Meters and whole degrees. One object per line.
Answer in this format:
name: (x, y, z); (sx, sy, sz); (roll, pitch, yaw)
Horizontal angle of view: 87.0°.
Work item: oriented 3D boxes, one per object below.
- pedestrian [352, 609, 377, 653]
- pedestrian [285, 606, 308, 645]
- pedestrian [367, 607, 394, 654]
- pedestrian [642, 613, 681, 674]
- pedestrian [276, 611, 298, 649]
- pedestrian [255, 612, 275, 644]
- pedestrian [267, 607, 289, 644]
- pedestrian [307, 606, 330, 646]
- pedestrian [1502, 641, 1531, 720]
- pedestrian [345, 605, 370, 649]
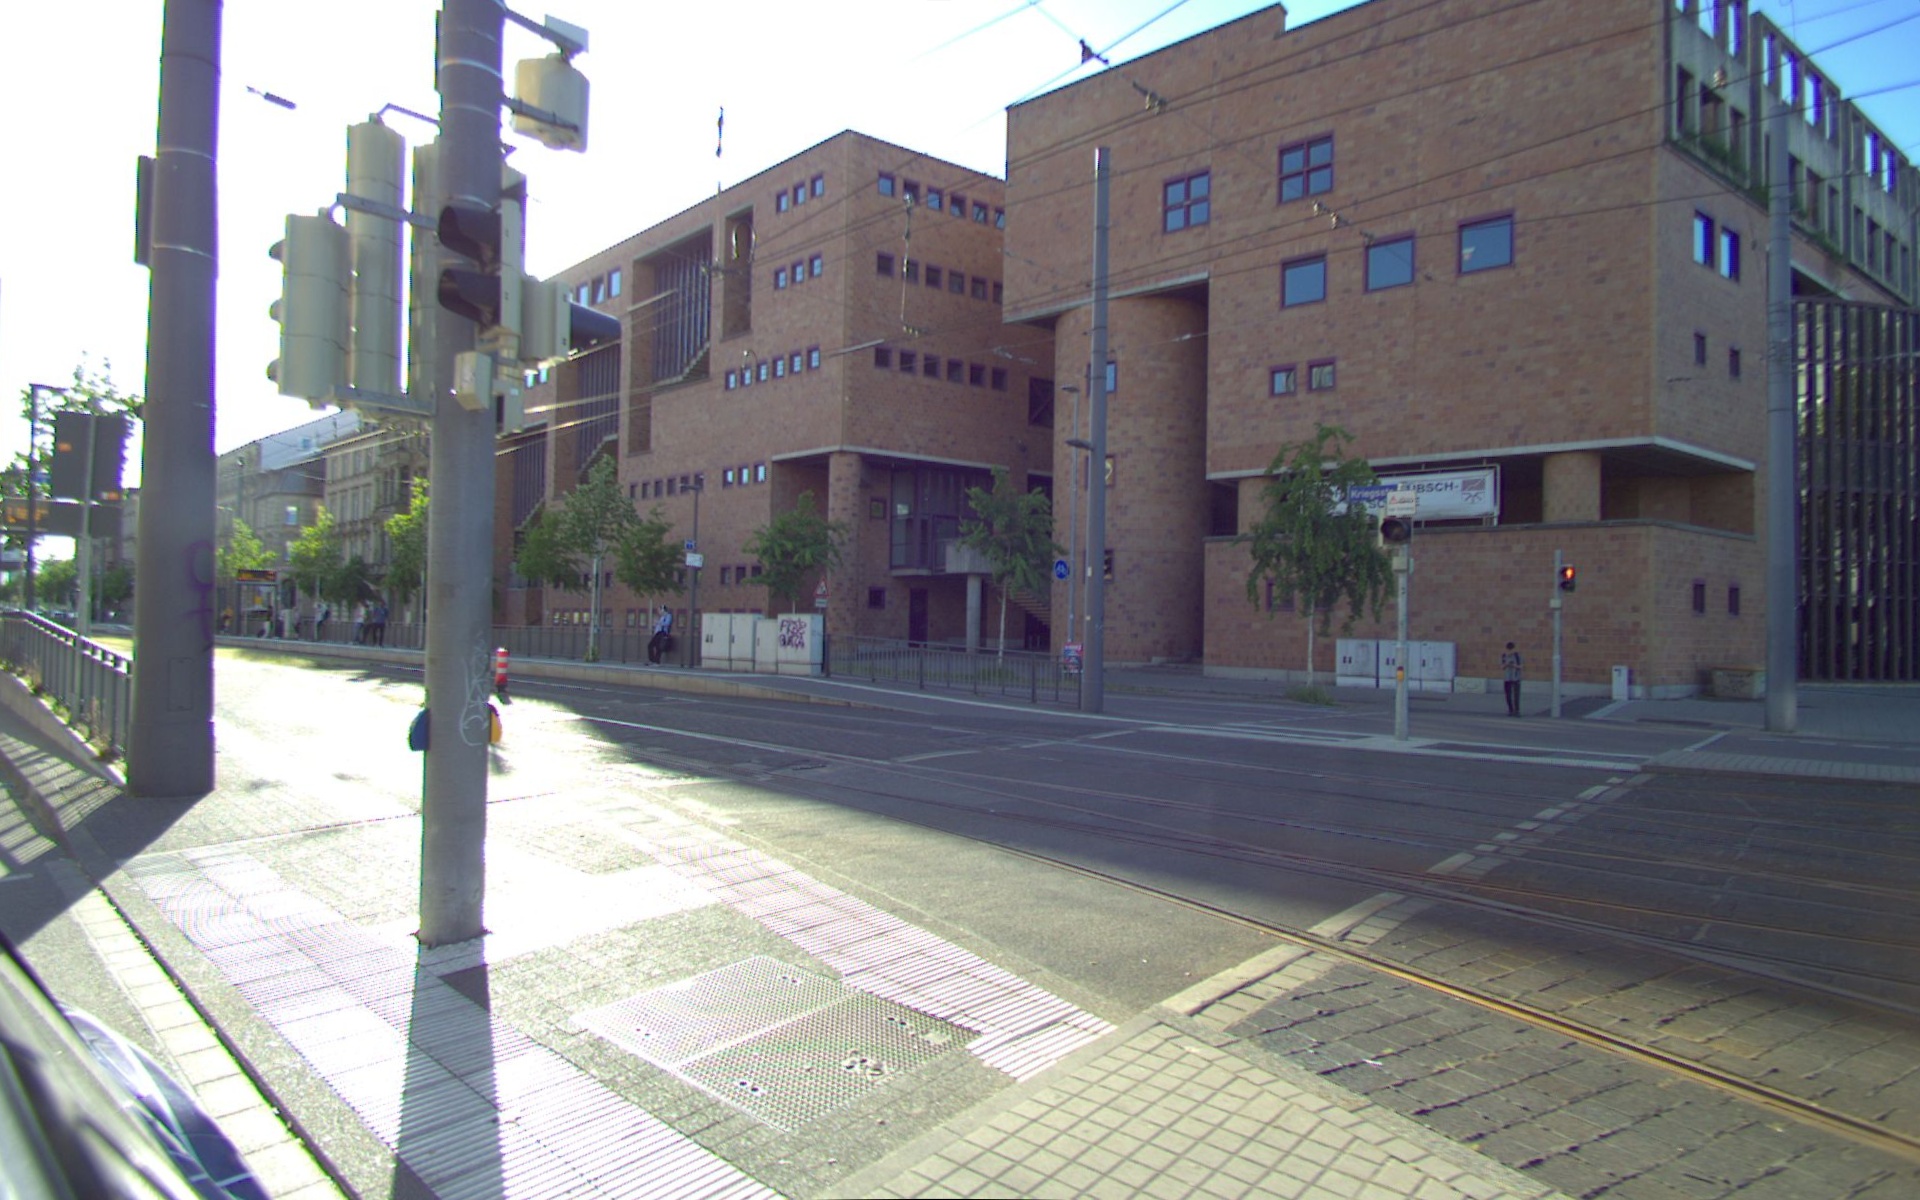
pedestrian: (-24.069, 1.254, 40.885); (0.586, 1.756, 0.683); (-1, -3, 40)
pedestrian: (-30.769, 1.189, 46.942); (0.586, 1.756, 0.683); (-1, -3, 40)
pedestrian: (-21.597, 1.144, 37.736); (0.586, 1.756, 0.683); (-1, -3, 40)
pedestrian: (-7.776, 1.130, 26.380); (0.654, 1.546, 0.692); (-1, -2, 40)
pedestrian: (-31.826, 1.419, 47.832); (0.586, 1.756, 0.683); (-1, -3, 40)
pedestrian: (-34.699, 1.416, 50.529); (0.586, 1.587, 0.683); (-1, -3, 40)
pedestrian: (-32.825, 1.242, 48.709); (0.586, 1.756, 0.683); (-1, -3, 40)
pedestrian: (-28.692, 1.179, 45.266); (0.586, 1.756, 0.683); (-1, -3, 40)
pedestrian: (11.783, 1.687, 21.426); (0.503, 1.629, 0.504); (0, -1, 32)
pedestrian: (-24.564, 1.099, 41.292); (0.586, 1.756, 0.683); (-1, -3, 40)
